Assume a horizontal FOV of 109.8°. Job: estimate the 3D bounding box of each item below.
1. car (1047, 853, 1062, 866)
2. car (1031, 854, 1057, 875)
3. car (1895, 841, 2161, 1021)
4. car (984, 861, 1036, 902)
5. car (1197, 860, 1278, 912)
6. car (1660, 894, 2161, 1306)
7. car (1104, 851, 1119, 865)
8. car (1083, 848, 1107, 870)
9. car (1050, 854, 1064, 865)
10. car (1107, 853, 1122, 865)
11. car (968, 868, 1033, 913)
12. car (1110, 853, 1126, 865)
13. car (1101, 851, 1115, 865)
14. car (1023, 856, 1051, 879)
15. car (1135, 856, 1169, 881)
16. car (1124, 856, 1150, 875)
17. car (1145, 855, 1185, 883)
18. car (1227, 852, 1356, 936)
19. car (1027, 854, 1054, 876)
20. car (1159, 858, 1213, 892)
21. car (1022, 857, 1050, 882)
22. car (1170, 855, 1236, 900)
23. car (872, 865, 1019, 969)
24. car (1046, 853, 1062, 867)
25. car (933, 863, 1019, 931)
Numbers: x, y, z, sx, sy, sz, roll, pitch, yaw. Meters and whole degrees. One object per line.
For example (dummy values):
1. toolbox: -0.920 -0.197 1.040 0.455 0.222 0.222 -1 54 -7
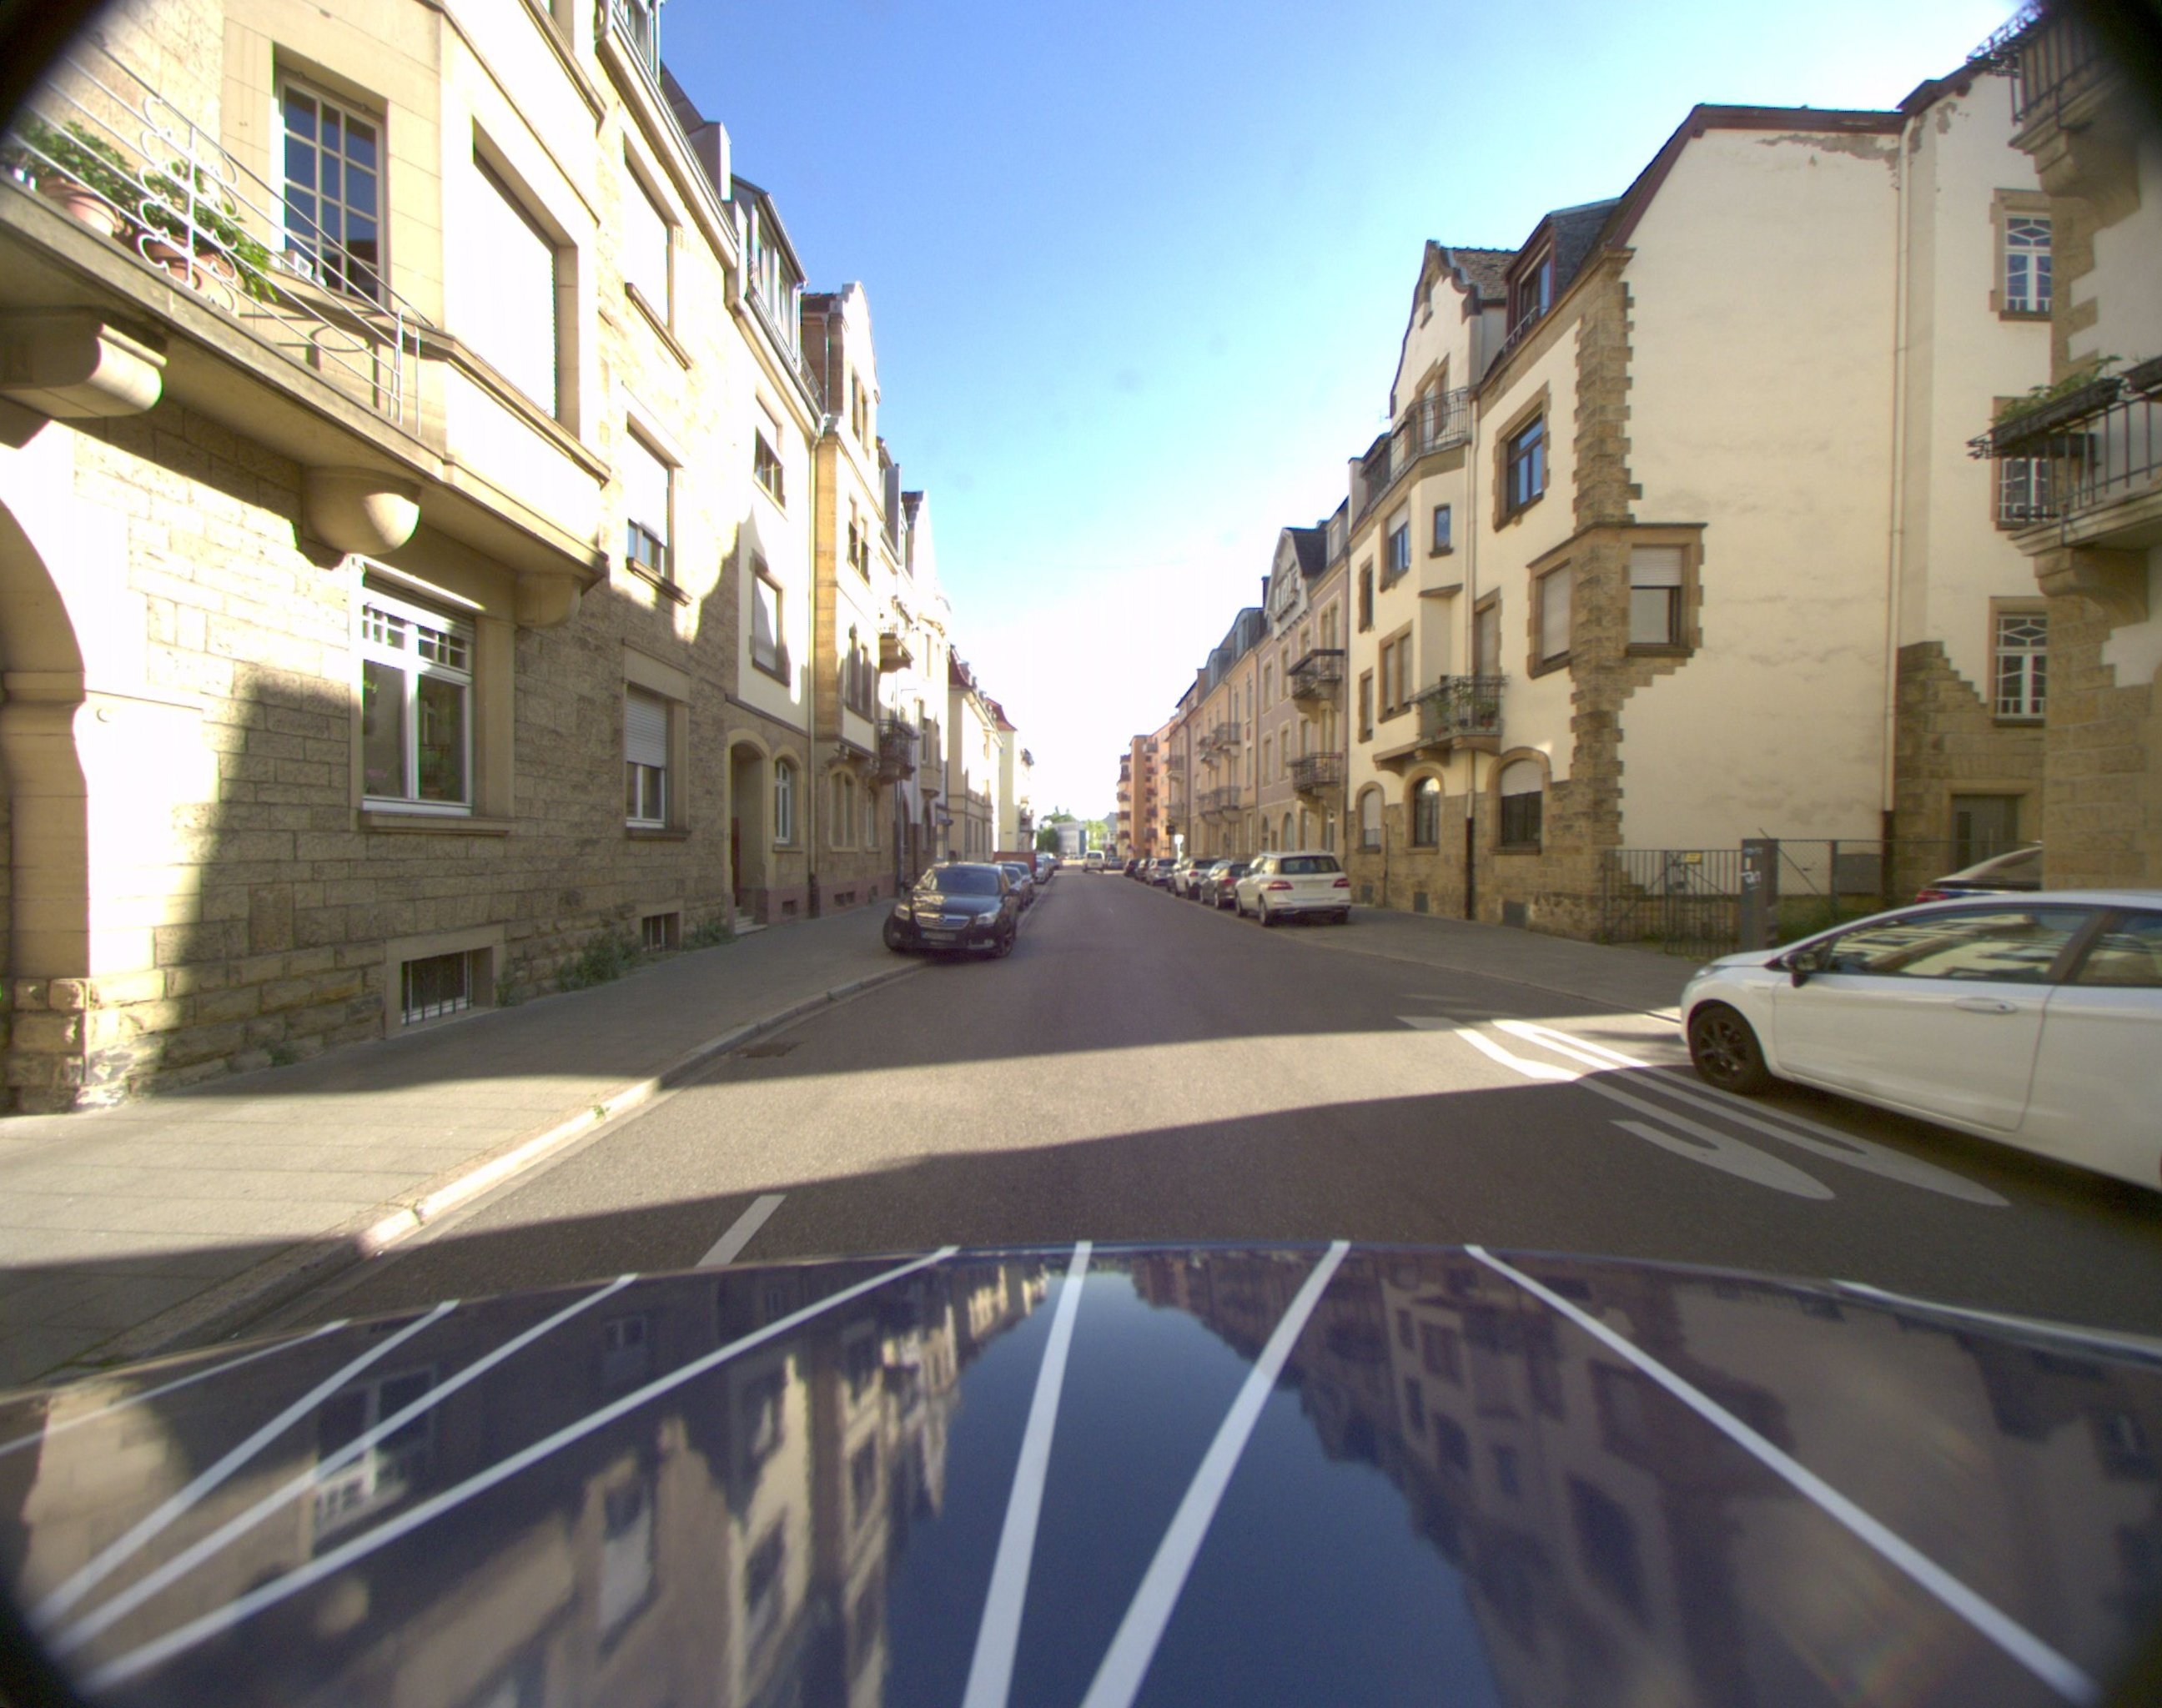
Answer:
1. car: -3.161 0.636 91.316 1.708 1.417 3.721 1 1 -1
2. car: -2.927 0.842 61.483 1.791 1.655 4.434 0 0 1
3. car: 11.823 0.753 8.221 3.978 1.718 1.909 0 0 0
4. car: -2.627 0.984 28.614 1.791 1.421 3.806 0 0 -4
5. car: 4.953 0.965 24.584 1.578 1.478 4.279 -2 0 -2
6. car: 5.077 1.034 3.769 1.638 1.455 3.735 0 0 2
7. car: 3.990 0.533 99.418 1.822 1.866 4.111 1 0 0
8. car: 1.293 0.454 70.932 1.868 1.925 4.598 0 0 -4
9. car: -3.082 0.728 97.666 1.708 1.417 3.721 0 0 -3
10. car: 4.114 0.639 92.769 1.678 1.414 3.285 0 0 0
11. car: -2.475 1.107 24.117 1.697 1.247 3.940 0 0 -1
12. car: 4.276 0.594 89.004 1.678 1.414 3.500 0 0 0
13. car: 3.766 0.559 106.108 1.822 1.867 4.111 0 0 0
14. car: -2.909 0.907 50.980 1.657 1.455 4.093 0 0 -1
15. car: 4.657 0.922 50.386 1.719 1.512 4.109 1 0 -1
16. car: 4.445 0.877 60.672 1.719 1.378 3.864 -3 0 0
17. car: 4.781 0.839 43.674 1.719 1.529 3.723 -1 0 -2
18. car: 5.044 0.878 18.905 1.896 1.712 4.726 -3 0 1
19. car: -3.027 0.791 57.049 1.684 1.537 3.915 1 0 1
20. car: 4.863 0.949 35.564 1.677 1.385 3.664 -3 0 -5
21. car: -2.689 0.898 45.594 1.590 1.456 3.711 0 0 -2
22. car: 4.767 0.879 30.180 1.719 1.574 4.019 -3 0 -3
23. car: -2.156 0.957 13.287 1.870 1.453 4.338 0 0 -1
24. car: -2.996 0.664 85.853 1.708 1.417 3.721 1 1 -1
25. car: -2.493 0.989 18.956 1.655 1.434 4.257 1 0 -2
